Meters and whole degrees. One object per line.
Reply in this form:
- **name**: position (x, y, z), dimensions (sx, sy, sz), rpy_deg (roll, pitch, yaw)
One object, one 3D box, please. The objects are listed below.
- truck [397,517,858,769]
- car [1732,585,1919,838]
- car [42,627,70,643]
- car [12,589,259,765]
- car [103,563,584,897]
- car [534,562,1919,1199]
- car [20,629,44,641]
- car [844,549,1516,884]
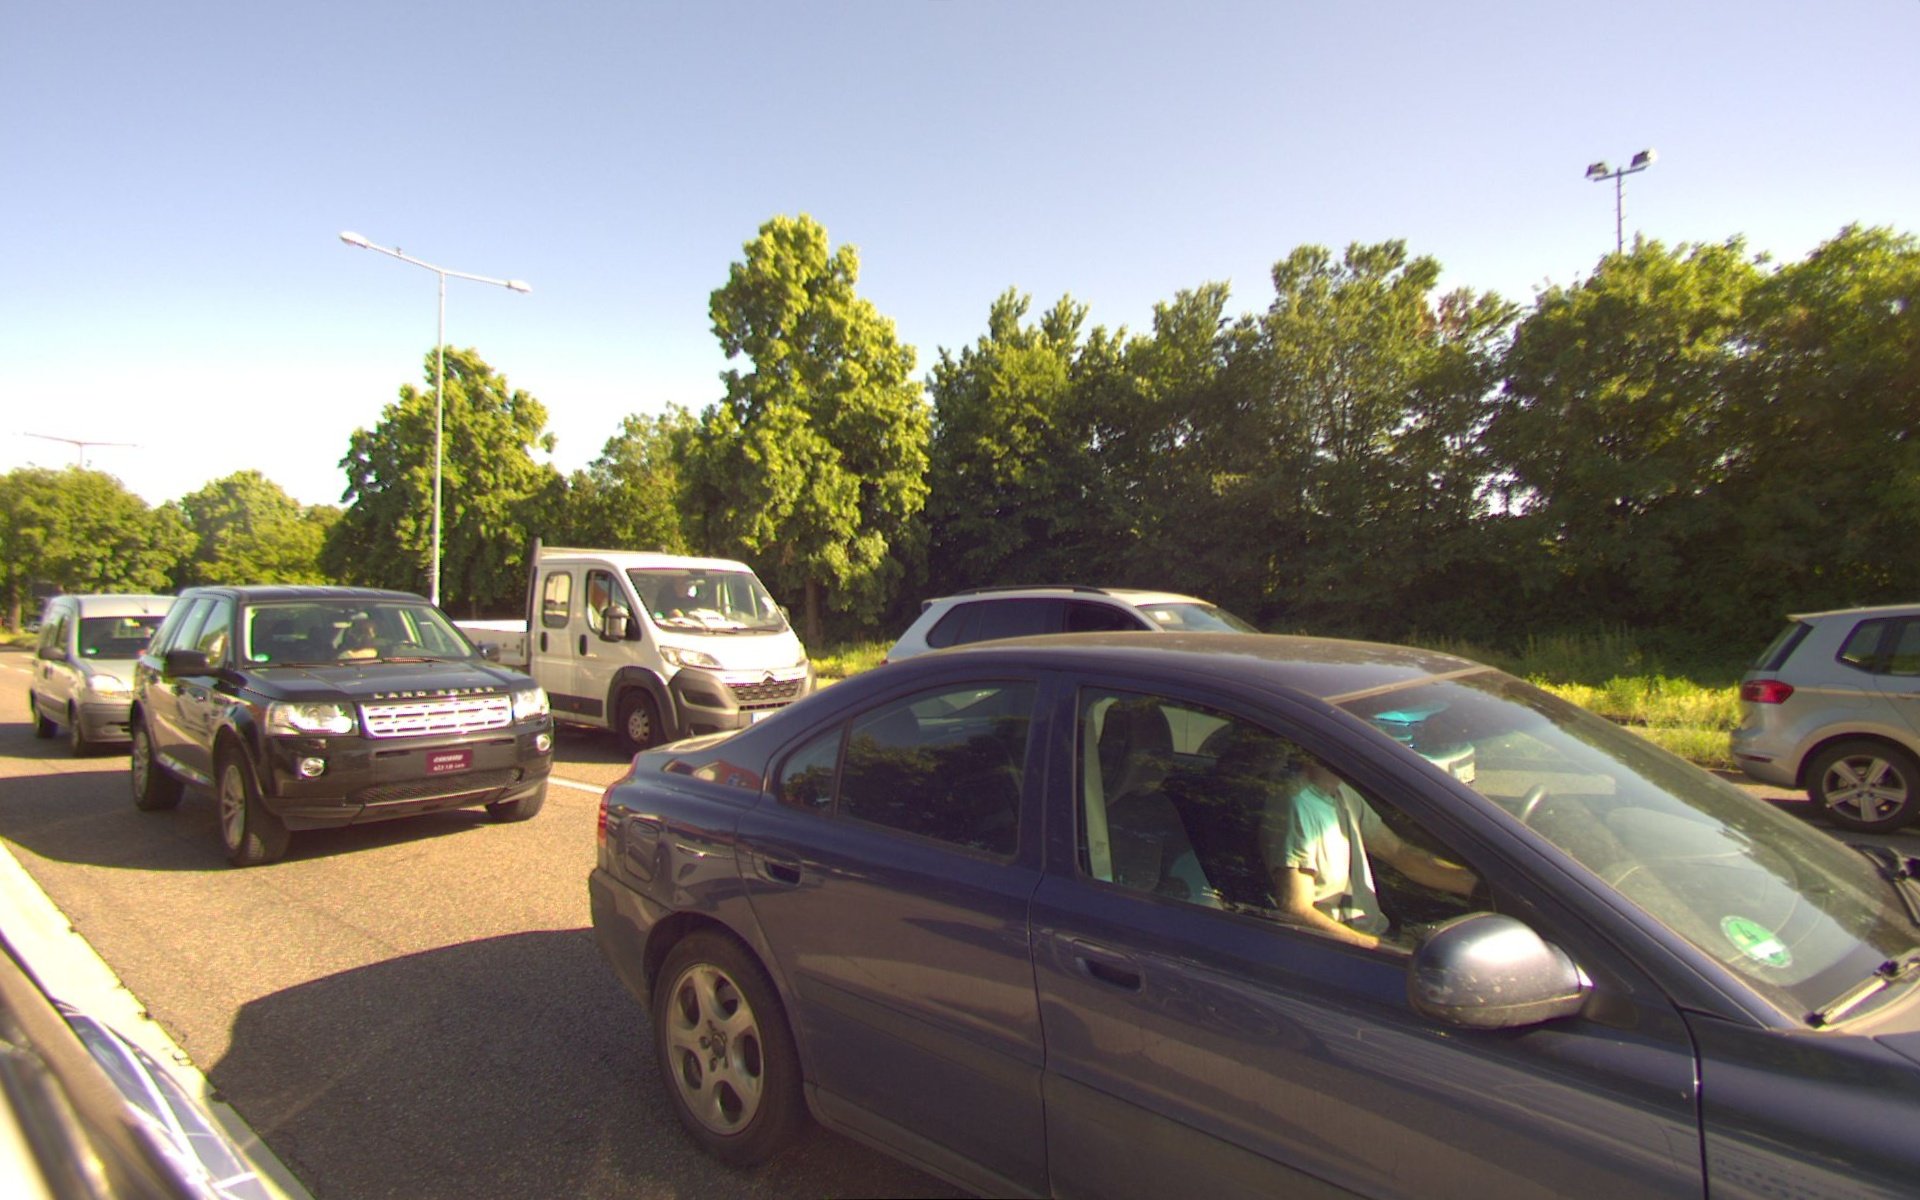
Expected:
- **truck**: position (-4.409, 0.437, 12.450), dimensions (6.838, 2.337, 2.158), rpy_deg (-1, -1, 40)
- **car**: position (7.628, 0.718, 6.413), dimensions (4.206, 1.623, 1.810), rpy_deg (-2, -3, 42)
- **car**: position (-98.559, 3.794, 110.314), dimensions (3.998, 1.697, 1.769), rpy_deg (-2, -3, 41)
- **car**: position (-10.055, 0.797, 12.221), dimensions (4.384, 1.765, 1.611), rpy_deg (-1, -1, 41)
- **car**: position (-4.698, 0.702, 7.419), dimensions (4.384, 1.744, 1.793), rpy_deg (-1, -1, 41)
- **car**: position (0.889, 0.691, 2.424), dimensions (4.454, 1.463, 1.757), rpy_deg (-1, 0, 41)
- **car**: position (-112.390, 4.232, 122.553), dimensions (3.998, 1.428, 1.769), rpy_deg (-2, -3, 41)
- **car**: position (1.377, 0.674, 7.429), dimensions (4.422, 1.723, 1.973), rpy_deg (-2, -3, 41)
